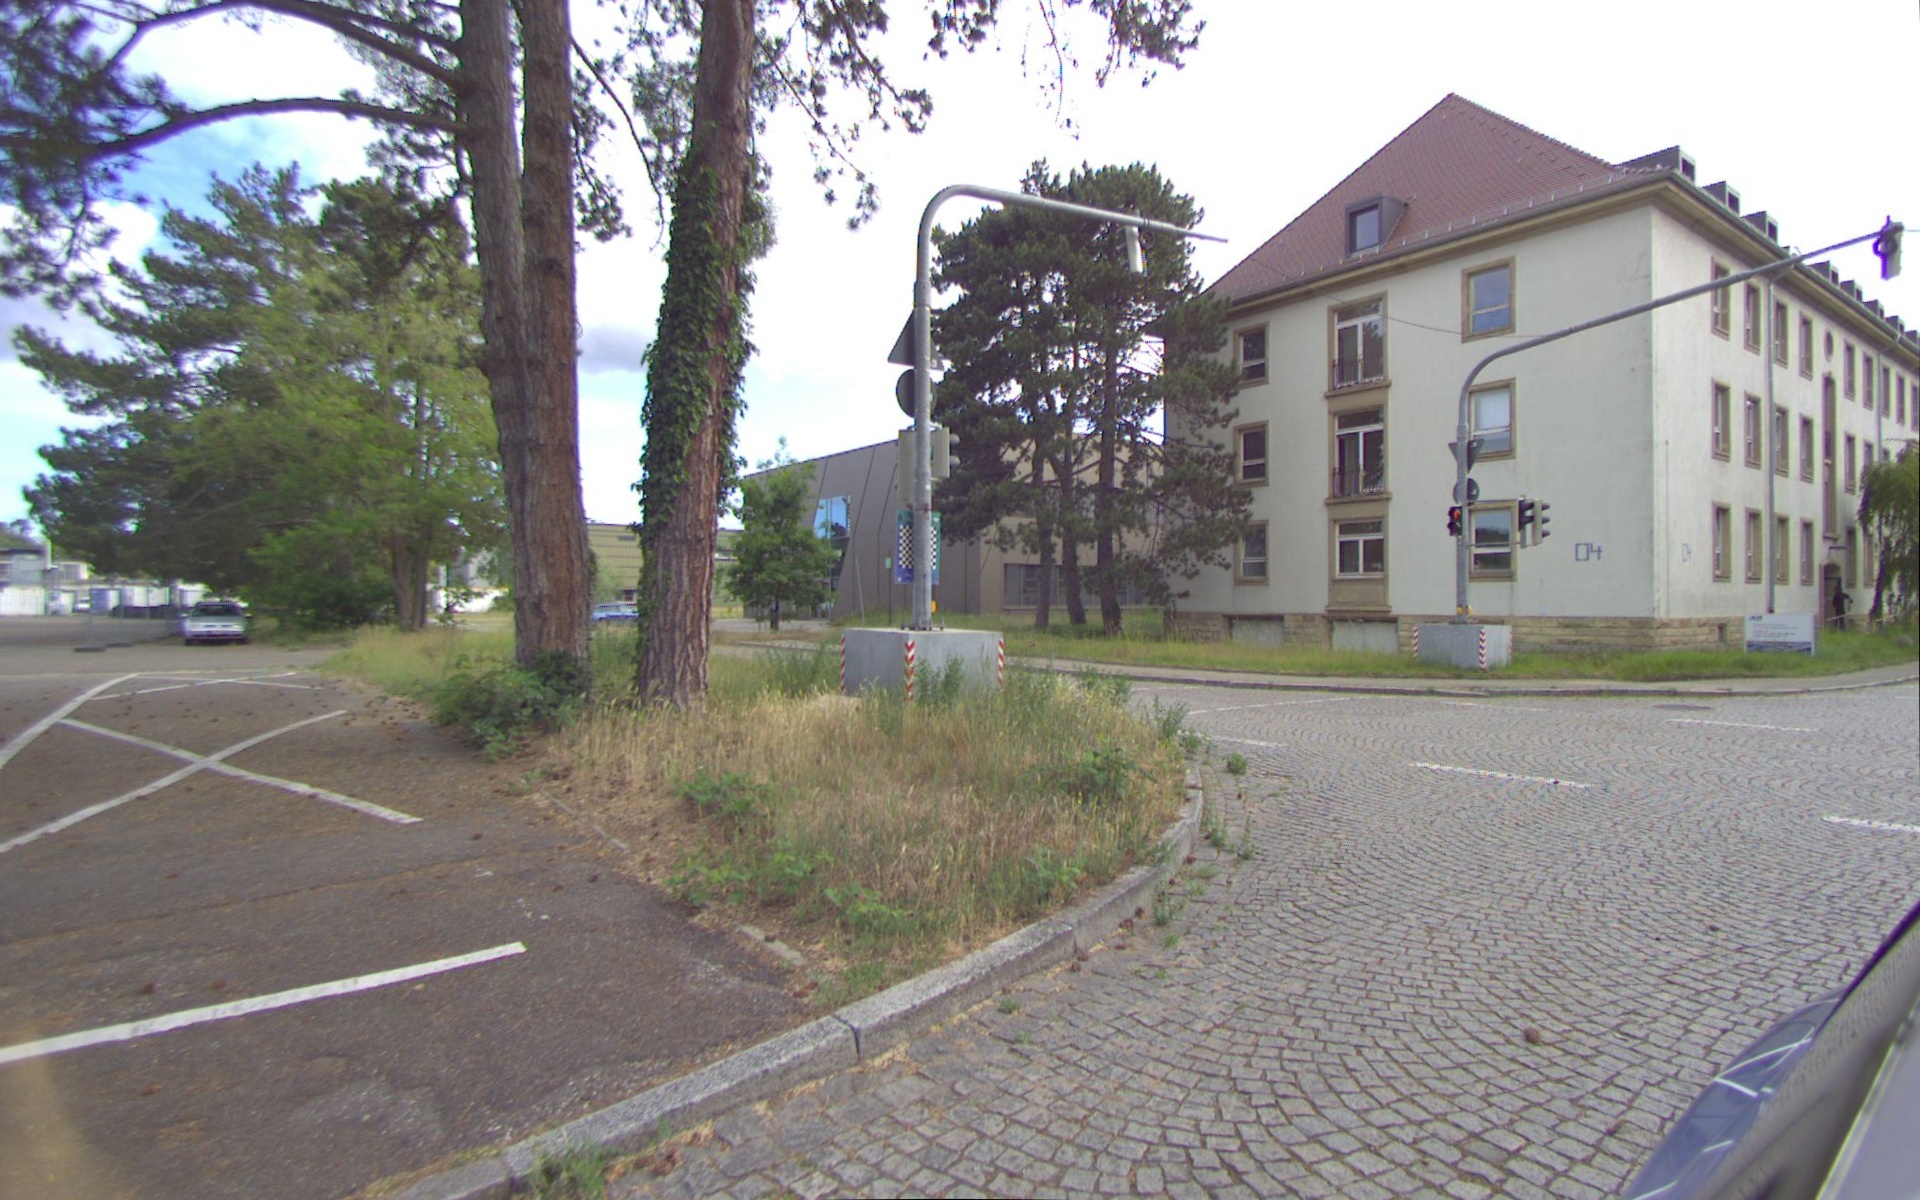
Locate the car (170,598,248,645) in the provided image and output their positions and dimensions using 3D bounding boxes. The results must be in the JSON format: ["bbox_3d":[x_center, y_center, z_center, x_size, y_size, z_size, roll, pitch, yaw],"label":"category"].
[{"bbox_3d":[-25.461,0.684,34.271,1.937,1.501,3.995,0,0,-39],"label":"car"}]

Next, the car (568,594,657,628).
[{"bbox_3d":[-19.588,0.584,57.107,4.395,1.854,1.998,0,0,-38],"label":"car"}]

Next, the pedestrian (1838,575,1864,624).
[{"bbox_3d":[31.265,-0.019,35.517,0.522,1.723,0.569,0,-1,-33],"label":"pedestrian"}]
